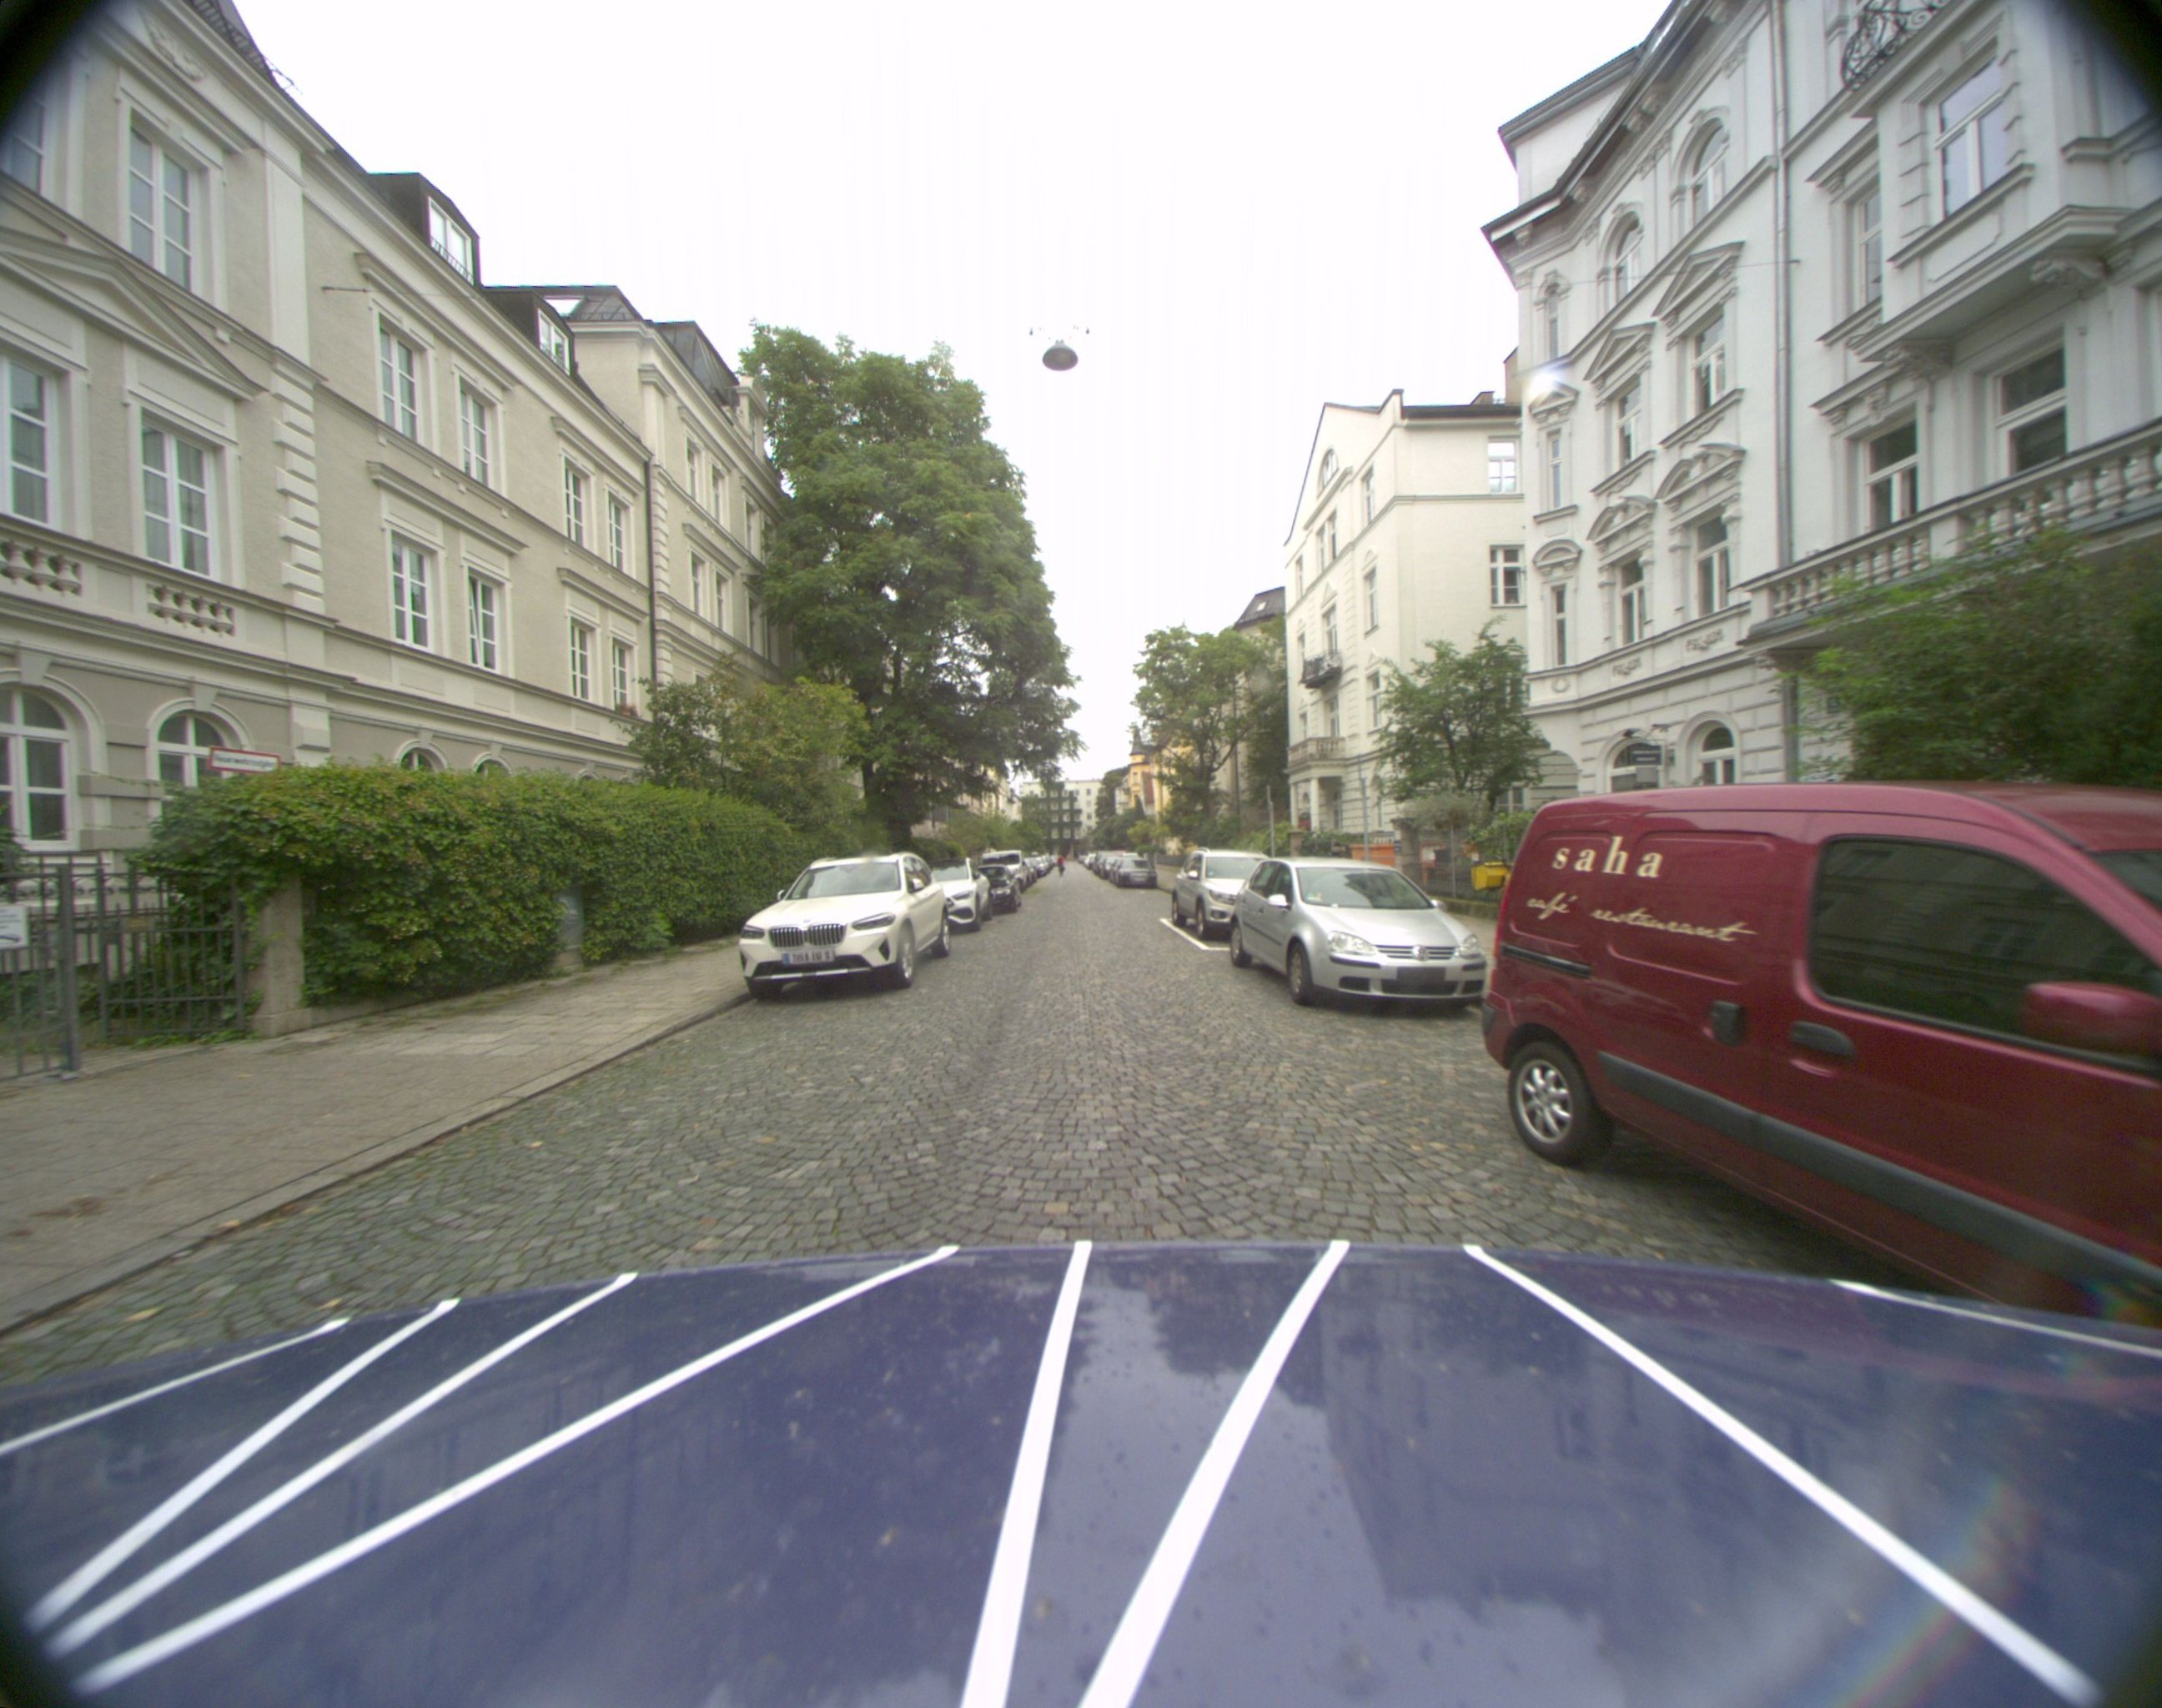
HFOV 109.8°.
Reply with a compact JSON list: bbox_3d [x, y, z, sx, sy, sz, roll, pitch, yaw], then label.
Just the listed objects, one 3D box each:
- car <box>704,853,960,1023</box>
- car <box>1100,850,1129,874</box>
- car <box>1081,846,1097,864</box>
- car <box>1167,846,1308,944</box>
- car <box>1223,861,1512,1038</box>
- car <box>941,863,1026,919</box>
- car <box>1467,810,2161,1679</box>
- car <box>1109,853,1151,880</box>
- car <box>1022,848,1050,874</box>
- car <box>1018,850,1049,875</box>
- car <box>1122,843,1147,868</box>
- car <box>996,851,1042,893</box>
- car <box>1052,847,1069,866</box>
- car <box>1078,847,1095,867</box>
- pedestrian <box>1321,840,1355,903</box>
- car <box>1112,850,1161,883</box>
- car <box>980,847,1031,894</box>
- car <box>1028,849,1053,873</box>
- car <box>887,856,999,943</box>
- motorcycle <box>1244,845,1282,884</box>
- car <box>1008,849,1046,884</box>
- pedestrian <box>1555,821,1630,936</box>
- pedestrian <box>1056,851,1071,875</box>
[{"bbox_3d":[-3.038,0.904,10.467,1.925,1.676,4.632,-2,1,0],"label":"car"},{"bbox_3d":[2.166,0.499,49.880,1.714,1.416,3.999,-2,1,0],"label":"car"},{"bbox_3d":[0.884,0.100,90.016,1.791,2.002,3.214,-2,1,0],"label":"car"},{"bbox_3d":[2.828,0.650,14.609,1.694,1.563,4.067,-2,1,-2],"label":"car"},{"bbox_3d":[2.843,0.841,8.488,1.636,1.386,3.815,-2,1,-2],"label":"car"},{"bbox_3d":[-2.738,1.013,22.433,1.924,1.291,4.807,-2,1,-1],"label":"car"},{"bbox_3d":[2.972,0.751,2.167,1.722,1.713,3.898,-1,1,-1],"label":"car"},{"bbox_3d":[2.627,0.635,41.690,1.998,1.324,3.999,-2,0,0],"label":"car"},{"bbox_3d":[-3.661,0.532,62.154,1.998,2.002,3.999,-2,1,0],"label":"car"},{"bbox_3d":[-3.557,0.630,57.203,1.998,1.705,3.999,-2,1,0],"label":"car"},{"bbox_3d":[4.634,0.094,66.278,1.763,2.002,3.999,-2,1,0],"label":"car"},{"bbox_3d":[-3.247,0.892,40.565,1.998,2.002,3.999,-2,1,0],"label":"car"},{"bbox_3d":[-2.292,0.263,86.361,1.763,2.002,3.999,-2,1,0],"label":"car"},{"bbox_3d":[0.588,0.315,80.907,1.763,2.002,3.999,-2,1,0],"label":"car"},{"bbox_3d":[6.804,0.453,20.082,0.665,1.618,0.670,-1,1,31],"label":"pedestrian"},{"bbox_3d":[2.639,0.555,36.867,1.886,1.411,4.807,-2,1,-1],"label":"car"},{"bbox_3d":[-3.362,0.697,34.778,1.819,1.809,4.807,-6,1,-2],"label":"car"},{"bbox_3d":[-3.612,0.581,68.834,1.998,2.002,3.999,-2,1,0],"label":"car"},{"bbox_3d":[-2.981,0.904,17.300,1.752,1.591,4.471,-2,1,-1],"label":"car"},{"bbox_3d":[6.971,0.366,29.264,0.738,1.420,2.244,-3,1,-3],"label":"motorcycle"},{"bbox_3d":[-3.285,0.728,47.086,1.998,2.002,3.999,-2,1,0],"label":"car"},{"bbox_3d":[7.569,0.349,11.270,0.577,1.637,0.822,-2,1,6],"label":"pedestrian"},{"bbox_3d":[-1.340,0.688,59.456,1.105,1.768,1.263,-2,1,0],"label":"pedestrian"}]
